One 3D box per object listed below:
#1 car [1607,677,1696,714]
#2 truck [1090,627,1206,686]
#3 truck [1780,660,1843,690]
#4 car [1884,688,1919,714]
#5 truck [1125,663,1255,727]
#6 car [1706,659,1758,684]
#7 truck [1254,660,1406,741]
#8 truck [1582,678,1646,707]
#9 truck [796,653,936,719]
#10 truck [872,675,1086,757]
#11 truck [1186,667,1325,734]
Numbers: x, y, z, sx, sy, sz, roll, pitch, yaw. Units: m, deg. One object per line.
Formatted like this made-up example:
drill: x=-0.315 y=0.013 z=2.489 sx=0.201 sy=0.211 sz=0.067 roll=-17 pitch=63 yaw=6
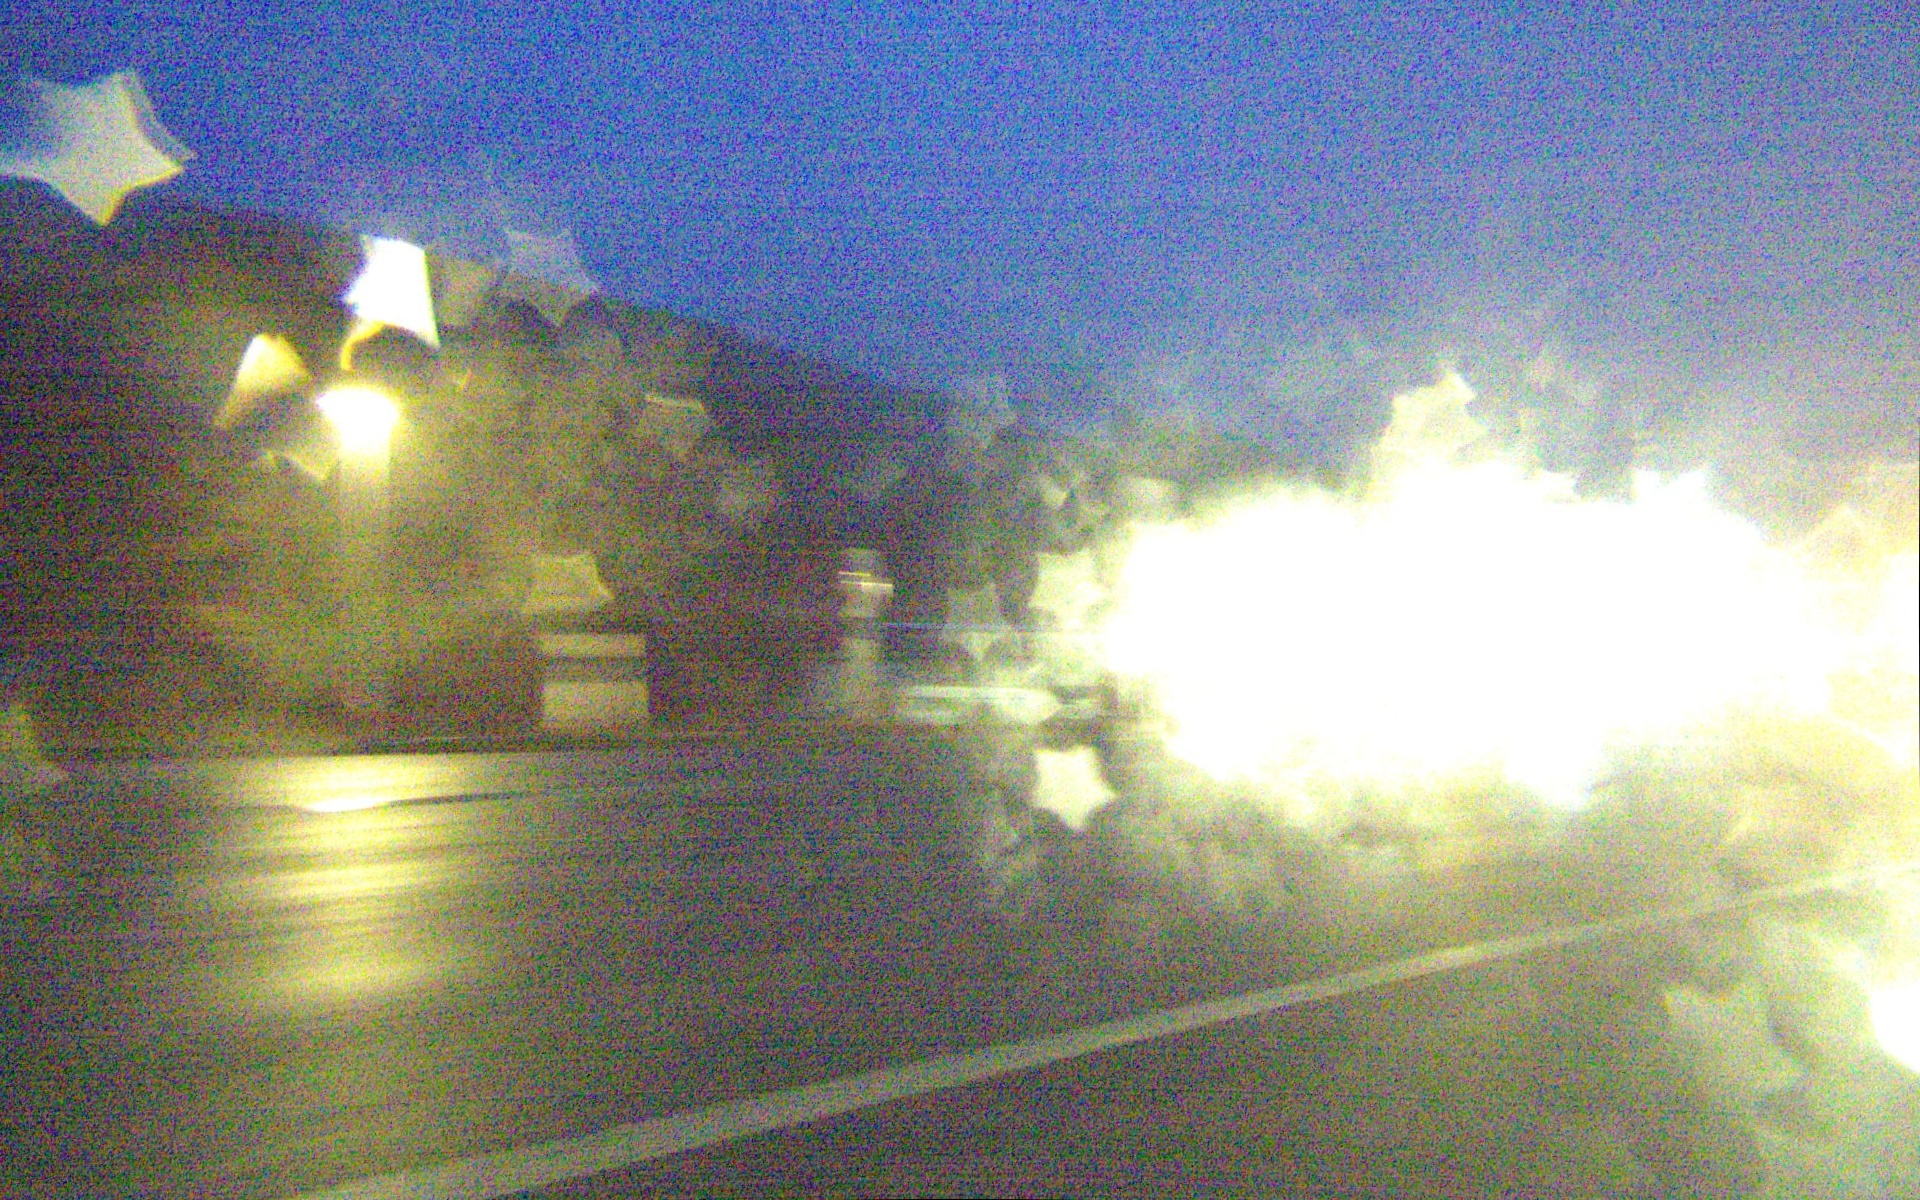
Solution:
car: x=39.513 y=5.428 z=57.456 sx=3.944 sy=1.662 sz=1.988 roll=1 pitch=0 yaw=44
truck: x=10.964 y=3.286 z=58.470 sx=6.486 sy=3.302 sz=2.425 roll=1 pitch=-4 yaw=-29
truck: x=78.699 y=6.908 z=92.822 sx=6.415 sy=2.495 sz=2.310 roll=2 pitch=-1 yaw=-29
car: x=61.332 y=6.501 z=64.800 sx=1.787 sy=1.587 sz=4.197 roll=-3 pitch=-6 yaw=33
truck: x=12.453 y=5.154 z=54.318 sx=6.965 sy=3.301 sz=2.426 roll=3 pitch=-7 yaw=-28
car: x=74.863 y=6.950 z=97.453 sx=4.392 sy=2.294 sz=1.990 roll=2 pitch=-1 yaw=-21
truck: x=17.123 y=4.656 z=46.423 sx=6.962 sy=3.523 sz=2.459 roll=3 pitch=-7 yaw=-27
truck: x=49.880 y=7.087 z=76.572 sx=4.438 sy=2.145 sz=2.077 roll=3 pitch=-7 yaw=-27
truck: x=-4.673 y=4.246 z=50.201 sx=6.606 sy=3.084 sz=2.162 roll=1 pitch=-4 yaw=-25
truck: x=0.648 y=3.816 z=33.302 sx=6.765 sy=2.550 sz=2.167 roll=2 pitch=-6 yaw=-20
truck: x=14.815 y=5.040 z=50.255 sx=6.965 sy=3.136 sz=2.426 roll=3 pitch=-7 yaw=-28
